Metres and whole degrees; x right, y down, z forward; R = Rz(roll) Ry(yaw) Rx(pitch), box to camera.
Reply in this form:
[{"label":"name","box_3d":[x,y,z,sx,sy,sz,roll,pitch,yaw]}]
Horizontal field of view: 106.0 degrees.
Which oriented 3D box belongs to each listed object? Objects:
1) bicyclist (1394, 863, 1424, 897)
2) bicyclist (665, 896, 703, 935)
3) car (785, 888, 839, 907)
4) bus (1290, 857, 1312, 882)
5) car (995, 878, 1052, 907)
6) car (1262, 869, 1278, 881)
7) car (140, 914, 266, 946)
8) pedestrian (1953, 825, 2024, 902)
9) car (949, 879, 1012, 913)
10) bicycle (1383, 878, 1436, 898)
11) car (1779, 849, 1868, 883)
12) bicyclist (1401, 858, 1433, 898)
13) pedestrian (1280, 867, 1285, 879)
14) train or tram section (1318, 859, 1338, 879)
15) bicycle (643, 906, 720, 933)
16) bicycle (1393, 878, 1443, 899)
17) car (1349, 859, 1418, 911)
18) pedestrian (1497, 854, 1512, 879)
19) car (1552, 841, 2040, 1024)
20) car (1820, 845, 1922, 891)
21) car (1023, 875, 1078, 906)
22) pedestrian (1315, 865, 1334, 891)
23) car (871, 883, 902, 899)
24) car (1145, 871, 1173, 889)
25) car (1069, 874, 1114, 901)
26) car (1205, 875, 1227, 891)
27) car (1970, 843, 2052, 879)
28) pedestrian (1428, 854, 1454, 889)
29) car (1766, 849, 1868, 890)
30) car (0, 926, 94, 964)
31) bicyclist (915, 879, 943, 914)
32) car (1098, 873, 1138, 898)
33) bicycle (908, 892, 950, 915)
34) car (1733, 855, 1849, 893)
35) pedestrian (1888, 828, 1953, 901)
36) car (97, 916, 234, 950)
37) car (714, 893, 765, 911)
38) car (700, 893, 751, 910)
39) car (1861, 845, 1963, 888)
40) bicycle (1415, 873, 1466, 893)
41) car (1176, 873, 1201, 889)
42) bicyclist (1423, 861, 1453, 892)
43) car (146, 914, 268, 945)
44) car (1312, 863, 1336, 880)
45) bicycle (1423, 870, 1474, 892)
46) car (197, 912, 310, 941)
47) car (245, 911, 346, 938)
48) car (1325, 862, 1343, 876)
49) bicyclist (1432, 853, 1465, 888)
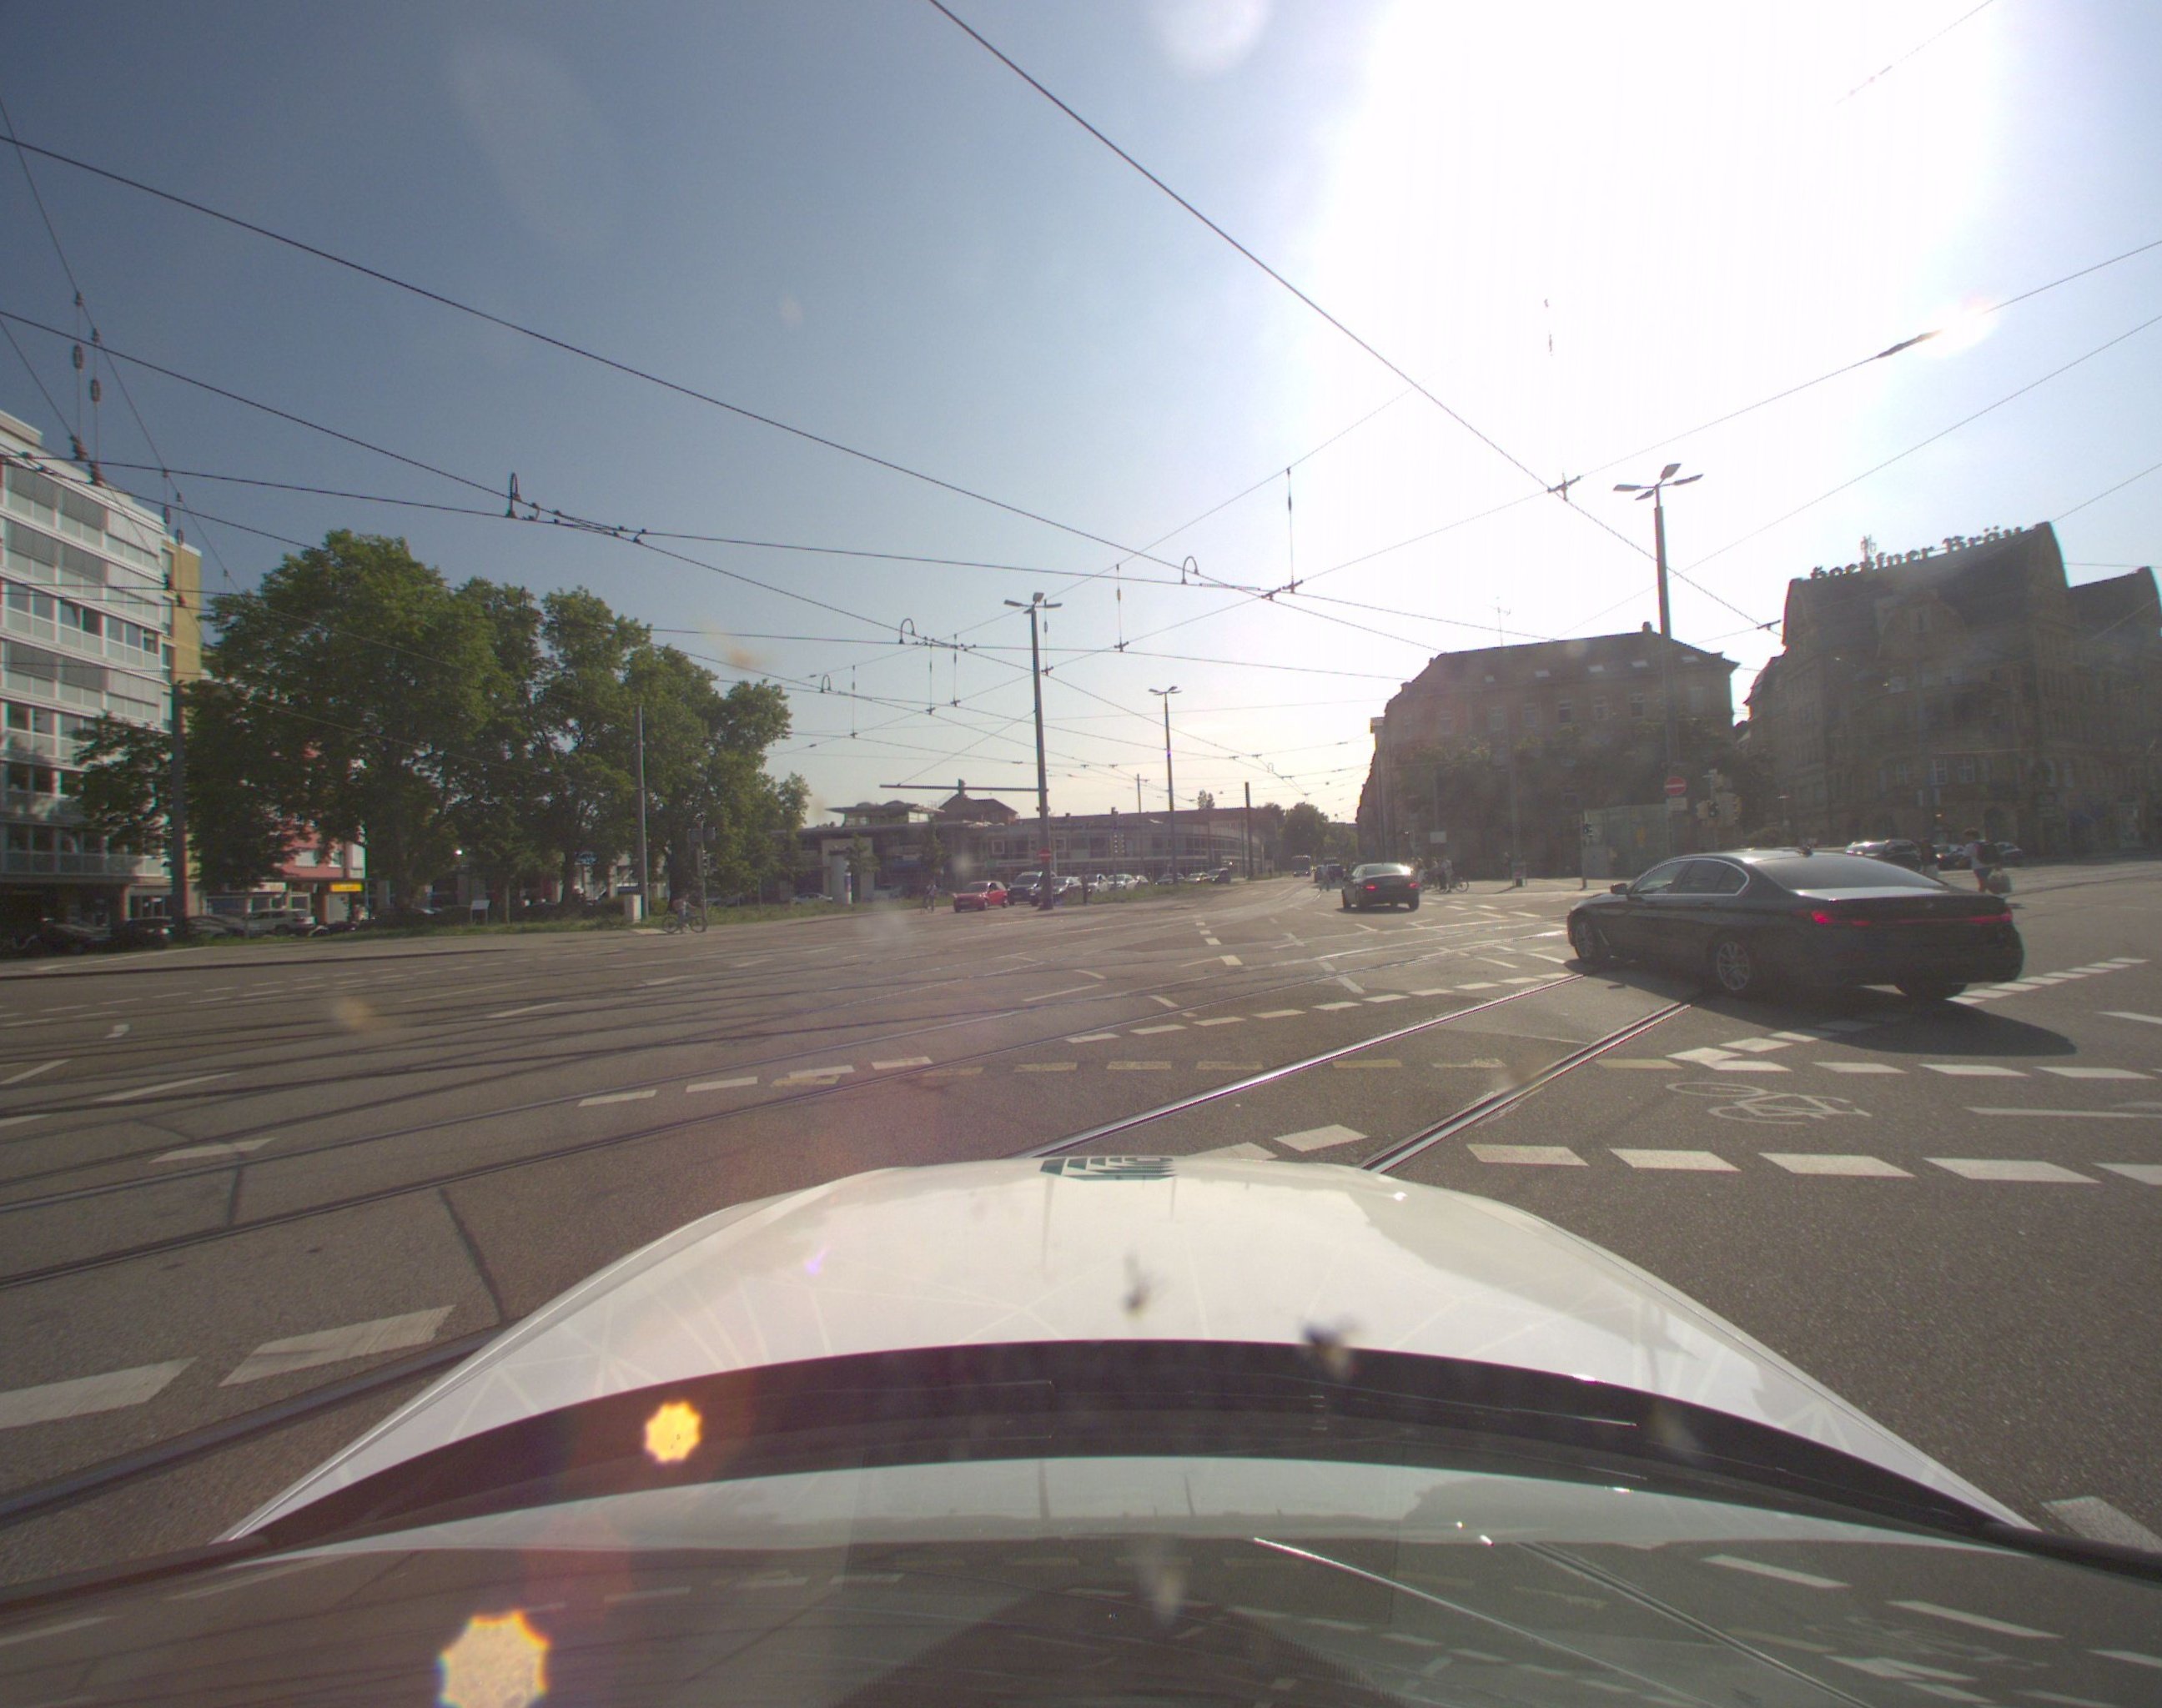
[{"label":"bicyclist","box_3d":[17.833,1.401,44.253,0.937,1.800,1.085,-2,-2,-22]},{"label":"bicyclist","box_3d":[-16.013,2.453,32.888,1.163,1.527,0.957,0,-2,-12]},{"label":"car","box_3d":[-23.426,3.761,70.887,4.064,1.523,1.708,-2,-2,6]},{"label":"bus","box_3d":[34.522,2.415,128.311,2.899,3.619,16.808,-2,-2,14]},{"label":"car","box_3d":[-3.373,2.268,48.680,1.945,1.476,4.017,-5,-2,17]},{"label":"car","box_3d":[25.320,2.850,109.100,1.601,1.476,4.018,-5,-2,18]},{"label":"car","box_3d":[-45.081,3.896,41.929,4.166,1.354,1.569,-1,-2,-17]},{"label":"pedestrian","box_3d":[20.738,0.233,18.640,0.911,1.690,0.931,-4,-3,42]},{"label":"car","box_3d":[-5.074,2.104,41.648,1.601,1.476,4.017,-5,-2,17]},{"label":"bicycle","box_3d":[17.863,1.822,44.249,2.629,0.964,1.085,-2,-2,-22]},{"label":"car","box_3d":[43.788,0.705,48.026,4.270,1.859,1.920,-1,-2,-18]},{"label":"bicyclist","box_3d":[17.325,1.233,41.980,0.941,2.024,1.081,-1,-2,-35]},{"label":"pedestrian","box_3d":[29.199,2.748,118.073,0.590,1.630,0.640,-3,-2,19]},{"label":"train or tram section","box_3d":[48.836,2.983,161.340,2.637,3.699,10.621,-3,-1,11]},{"label":"bicycle","box_3d":[-16.098,2.639,32.858,2.601,1.057,0.956,1,-3,-12]},{"label":"bicycle","box_3d":[17.385,1.776,41.986,2.638,0.964,1.081,-1,-2,-36]},{"label":"car","box_3d":[9.430,0.950,25.642,1.669,1.443,4.391,-3,-2,16]},{"label":"pedestrian","box_3d":[25.966,0.760,49.979,0.672,1.471,0.540,-1,-3,-42]},{"label":"car","box_3d":[7.304,0.705,9.142,1.674,1.492,4.680,-2,-1,6]},{"label":"car","box_3d":[34.846,0.612,35.922,4.076,1.859,1.894,-1,-2,-26]},{"label":"car","box_3d":[-1.561,1.920,43.614,1.601,1.476,4.017,-5,-2,17]},{"label":"pedestrian","box_3d":[14.389,1.425,48.191,0.778,1.503,0.707,-2,-2,-12]},{"label":"car","box_3d":[-19.356,3.670,81.107,1.691,1.523,4.106,-2,-2,6]},{"label":"car","box_3d":[7.081,2.349,73.814,1.601,1.476,4.018,-5,-2,18]},{"label":"car","box_3d":[0.674,2.037,49.954,1.601,1.476,4.017,-5,-2,17]},{"label":"car","box_3d":[14.384,3.096,86.536,1.601,1.476,4.018,-5,-2,18]},{"label":"car","box_3d":[51.818,0.396,45.365,4.122,1.859,1.916,-1,-2,-26]},{"label":"pedestrian","box_3d":[19.069,0.914,43.191,0.932,1.797,0.850,-1,-2,-39]},{"label":"car","box_3d":[35.834,0.756,39.647,4.716,1.859,1.895,-1,-2,-24]},{"label":"car","box_3d":[-43.576,3.737,33.143,4.166,1.354,1.473,-1,-2,-17]},{"label":"bicyclist","box_3d":[-7.823,2.163,41.956,0.950,1.749,1.171,-3,-2,18]},{"label":"car","box_3d":[2.529,2.126,55.102,1.601,1.476,4.018,-5,-2,18]},{"label":"bicycle","box_3d":[-7.791,2.519,42.007,0.950,1.057,2.620,-3,-2,18]},{"label":"car","box_3d":[29.157,0.833,33.447,4.396,1.397,2.006,-1,-2,-26]},{"label":"pedestrian","box_3d":[20.054,0.251,19.481,0.910,1.690,0.843,-4,-3,39]},{"label":"car","box_3d":[-44.170,3.782,39.384,4.166,1.354,1.569,-1,-2,-17]},{"label":"car","box_3d":[-34.382,4.831,82.026,1.683,1.523,4.543,-3,-2,33]},{"label":"car","box_3d":[-36.306,4.880,83.330,1.683,1.523,4.543,-3,-2,33]},{"label":"car","box_3d":[39.271,0.577,38.485,4.190,1.859,2.117,-1,-2,-26]},{"label":"bicycle","box_3d":[20.220,1.619,45.763,2.629,0.964,1.085,-2,-2,-22]},{"label":"car","box_3d":[10.712,2.675,80.818,1.601,1.476,4.018,-5,-2,18]},{"label":"bicyclist","box_3d":[20.028,1.257,45.694,0.937,1.680,1.085,-2,-2,-22]},{"label":"car","box_3d":[-46.714,3.998,43.618,4.166,1.354,1.569,-1,-2,-17]},{"label":"car","box_3d":[21.759,1.551,72.758,1.810,1.428,4.433,-3,-2,19]},{"label":"bicycle","box_3d":[18.167,1.352,40.246,2.638,0.964,1.081,-1,-2,-36]},{"label":"car","box_3d":[-46.425,4.055,45.795,4.166,1.354,1.569,-1,-2,-17]},{"label":"car","box_3d":[-48.363,4.316,50.234,4.166,1.354,1.569,-1,-2,-17]},{"label":"car","box_3d":[28.128,1.616,90.540,1.811,1.428,4.431,-3,-2,16]},{"label":"bicyclist","box_3d":[18.200,0.813,40.298,0.941,1.708,1.081,-1,-2,-35]}]
